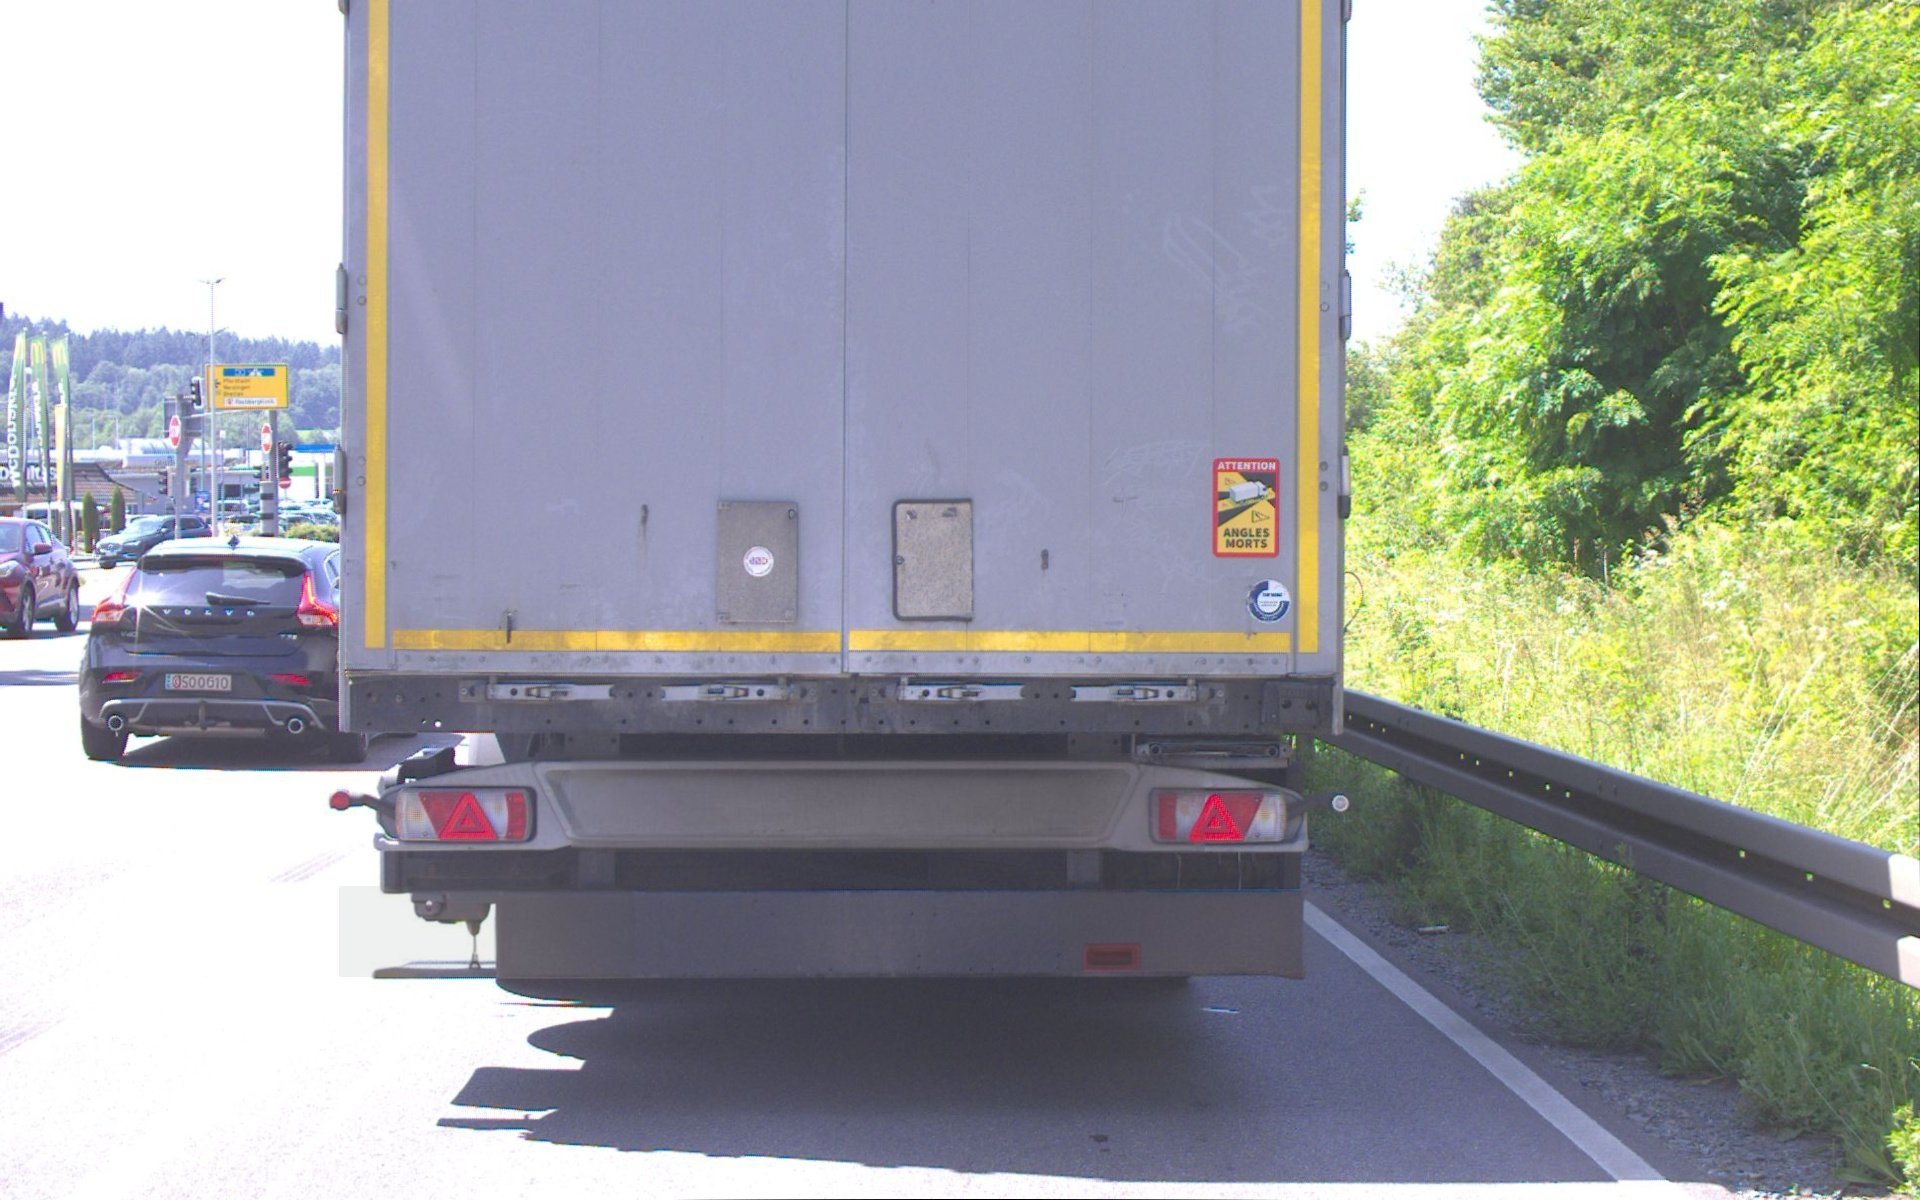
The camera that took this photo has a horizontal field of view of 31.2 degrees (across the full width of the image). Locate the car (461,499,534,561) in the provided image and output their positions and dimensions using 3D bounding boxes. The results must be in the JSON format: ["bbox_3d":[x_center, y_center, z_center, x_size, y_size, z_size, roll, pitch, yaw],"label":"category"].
[{"bbox_3d":[-13.442,-2.045,100.070,1.720,1.747,3.857,0,1,-2],"label":"car"}]

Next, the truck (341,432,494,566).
[{"bbox_3d":[-18.051,-3.337,115.567,2.968,4.162,16.577,0,1,-2],"label":"truck"}]

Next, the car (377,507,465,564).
[{"bbox_3d":[-13.822,-1.642,88.354,1.766,1.381,4.000,1,1,-2],"label":"car"}]

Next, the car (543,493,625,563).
[{"bbox_3d":[-10.934,-2.101,100.163,1.993,2.007,4.000,0,1,-1],"label":"car"}]

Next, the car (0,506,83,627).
[{"bbox_3d":[-12.715,-0.461,44.565,1.903,1.503,3.765,0,1,-3],"label":"car"}]

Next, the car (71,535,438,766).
[{"bbox_3d":[-4.600,0.271,22.988,1.686,1.393,4.403,0,1,-2],"label":"car"}]

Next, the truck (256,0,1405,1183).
[{"bbox_3d":[-0.396,-0.995,16.744,2.755,4.623,16.656,1,1,-1],"label":"truck"}]

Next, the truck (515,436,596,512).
[{"bbox_3d":[-18.643,-5.747,159.027,2.846,3.340,11.484,0,1,-2],"label":"truck"}]
